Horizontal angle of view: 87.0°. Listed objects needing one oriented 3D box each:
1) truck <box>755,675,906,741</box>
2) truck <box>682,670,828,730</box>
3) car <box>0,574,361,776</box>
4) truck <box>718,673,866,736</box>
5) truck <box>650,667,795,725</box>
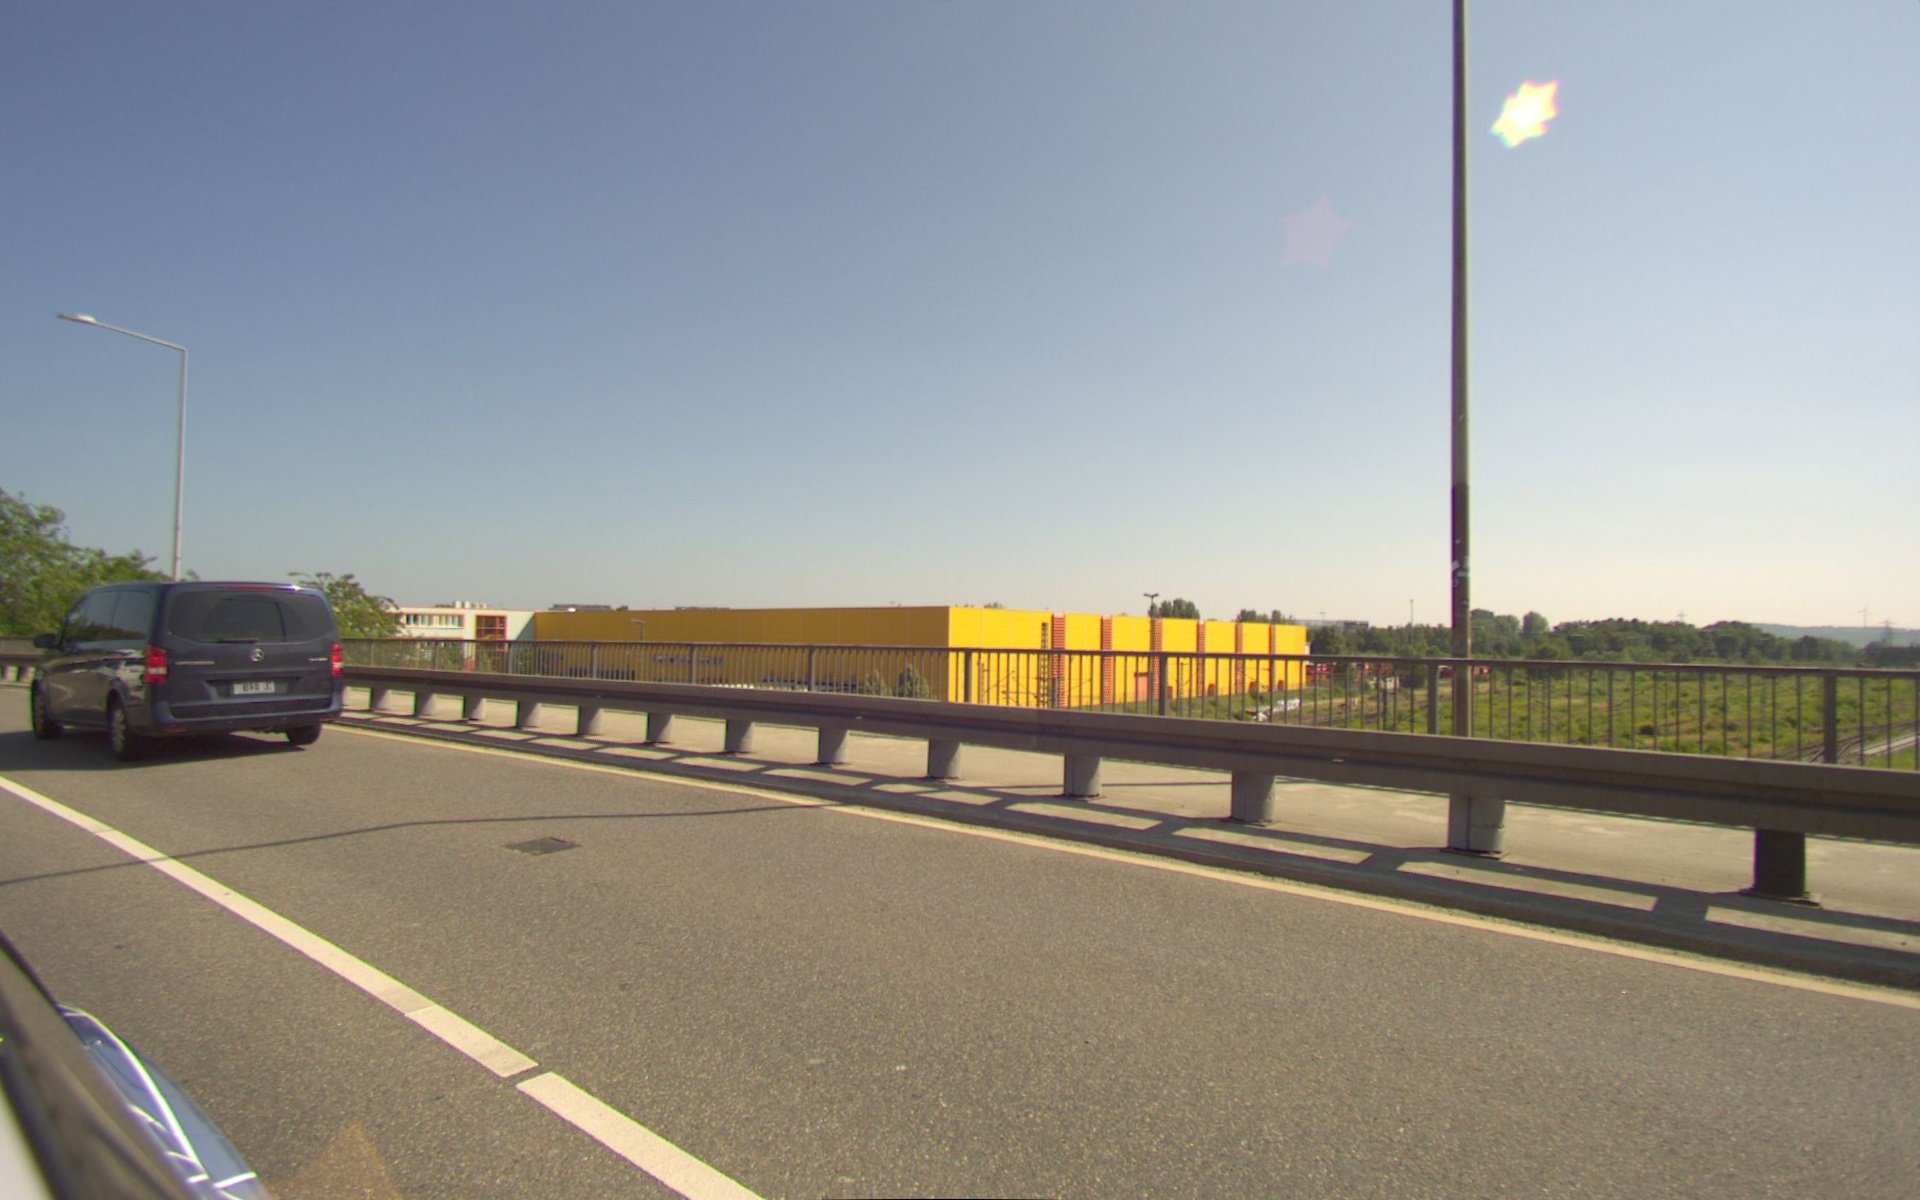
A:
[{"bbox_3d":[-13.889,11.604,111.641,5.970,5.719,17.320,-1,-1,38],"label":"truck"},{"bbox_3d":[-23.909,11.577,119.934,5.782,5.719,17.320,-1,-1,38],"label":"truck"},{"bbox_3d":[-9.588,0.780,12.153,5.905,1.903,2.056,-2,-1,37],"label":"car"},{"bbox_3d":[-18.922,11.740,116.006,5.970,5.719,17.320,-1,-1,38],"label":"truck"},{"bbox_3d":[-28.690,11.517,123.848,5.970,5.719,17.320,-1,-1,38],"label":"truck"}]
